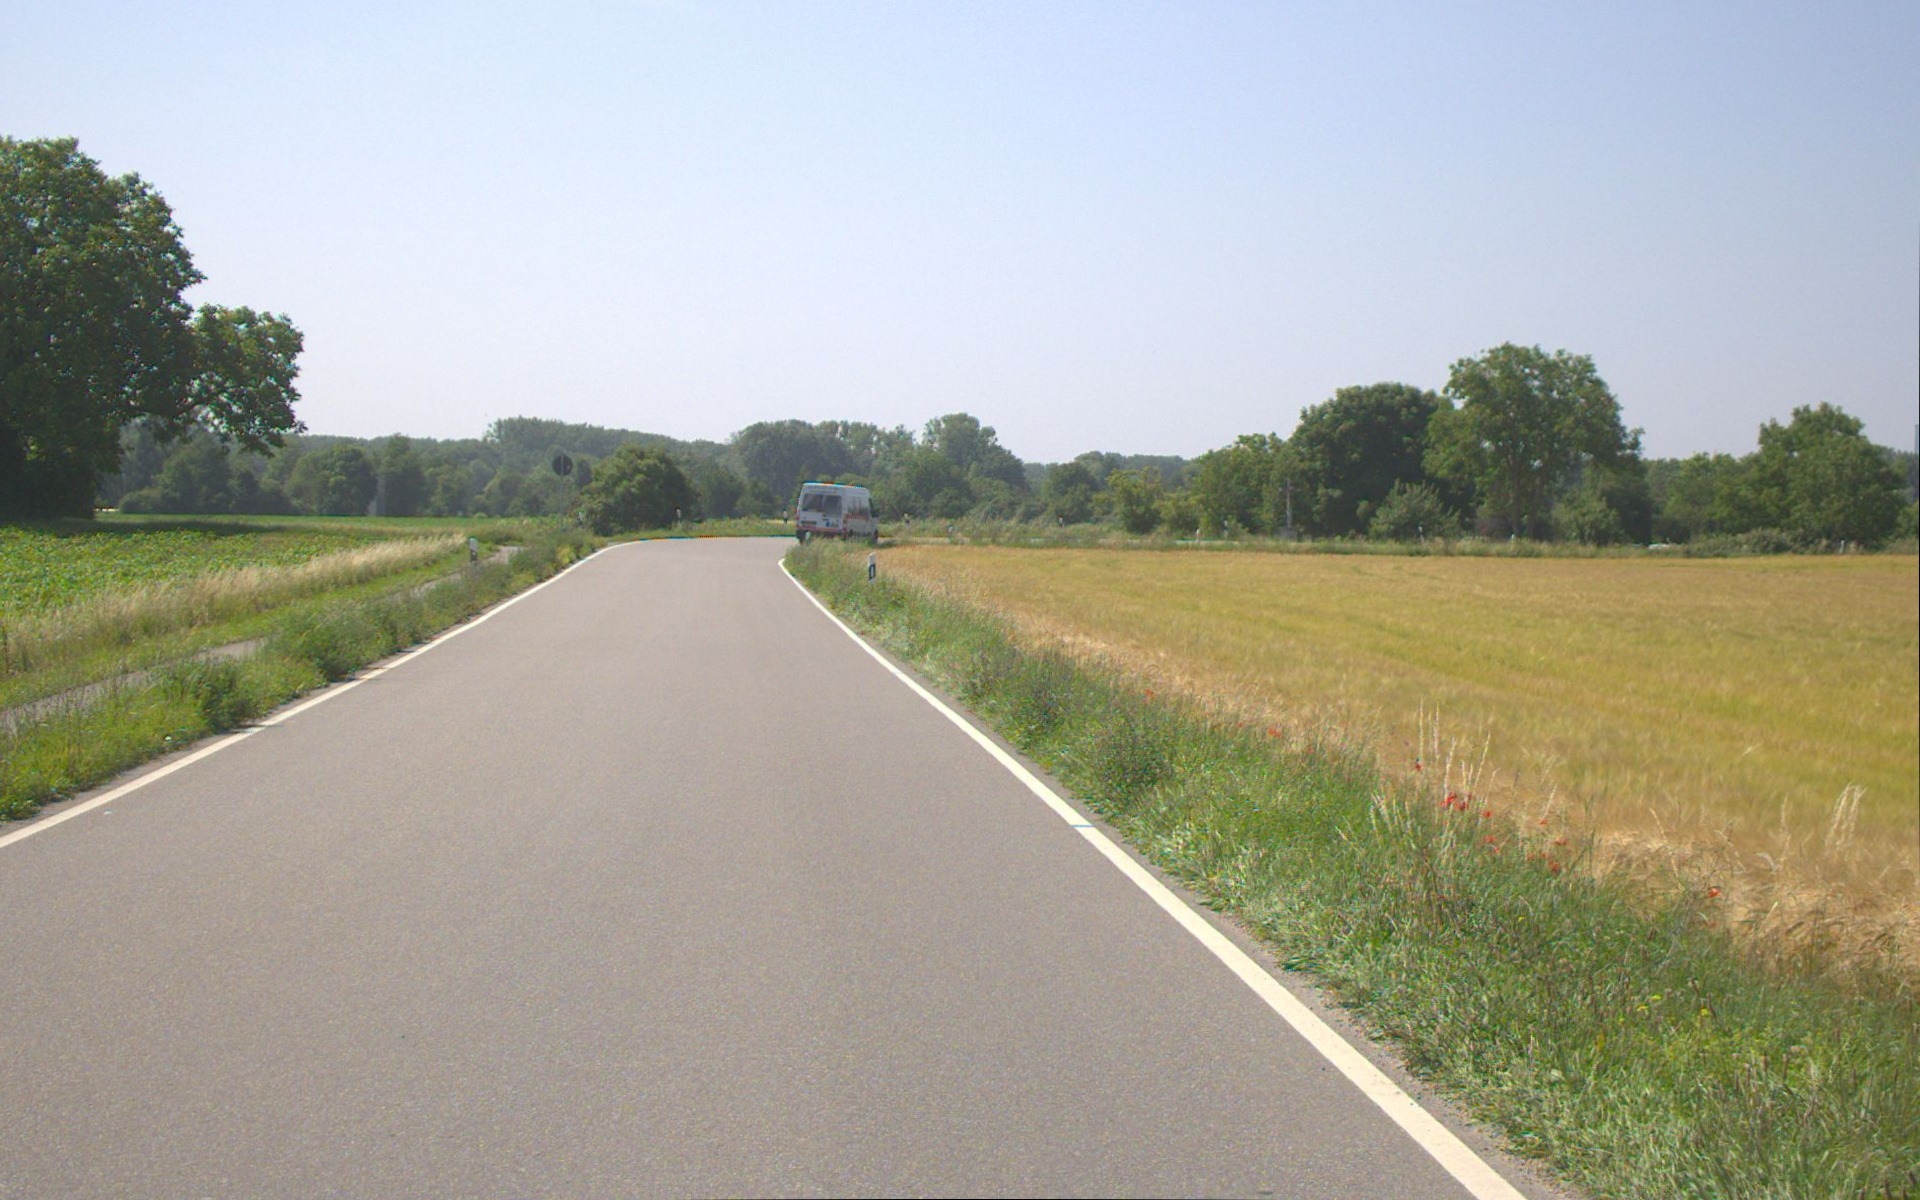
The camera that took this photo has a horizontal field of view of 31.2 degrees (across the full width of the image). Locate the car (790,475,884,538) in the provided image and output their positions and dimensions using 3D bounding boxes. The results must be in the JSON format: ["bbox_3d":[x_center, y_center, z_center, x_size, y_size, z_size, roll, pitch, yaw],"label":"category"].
[{"bbox_3d":[-4.775,-3.658,134.492,2.105,2.359,5.683,1,2,15],"label":"car"}]
